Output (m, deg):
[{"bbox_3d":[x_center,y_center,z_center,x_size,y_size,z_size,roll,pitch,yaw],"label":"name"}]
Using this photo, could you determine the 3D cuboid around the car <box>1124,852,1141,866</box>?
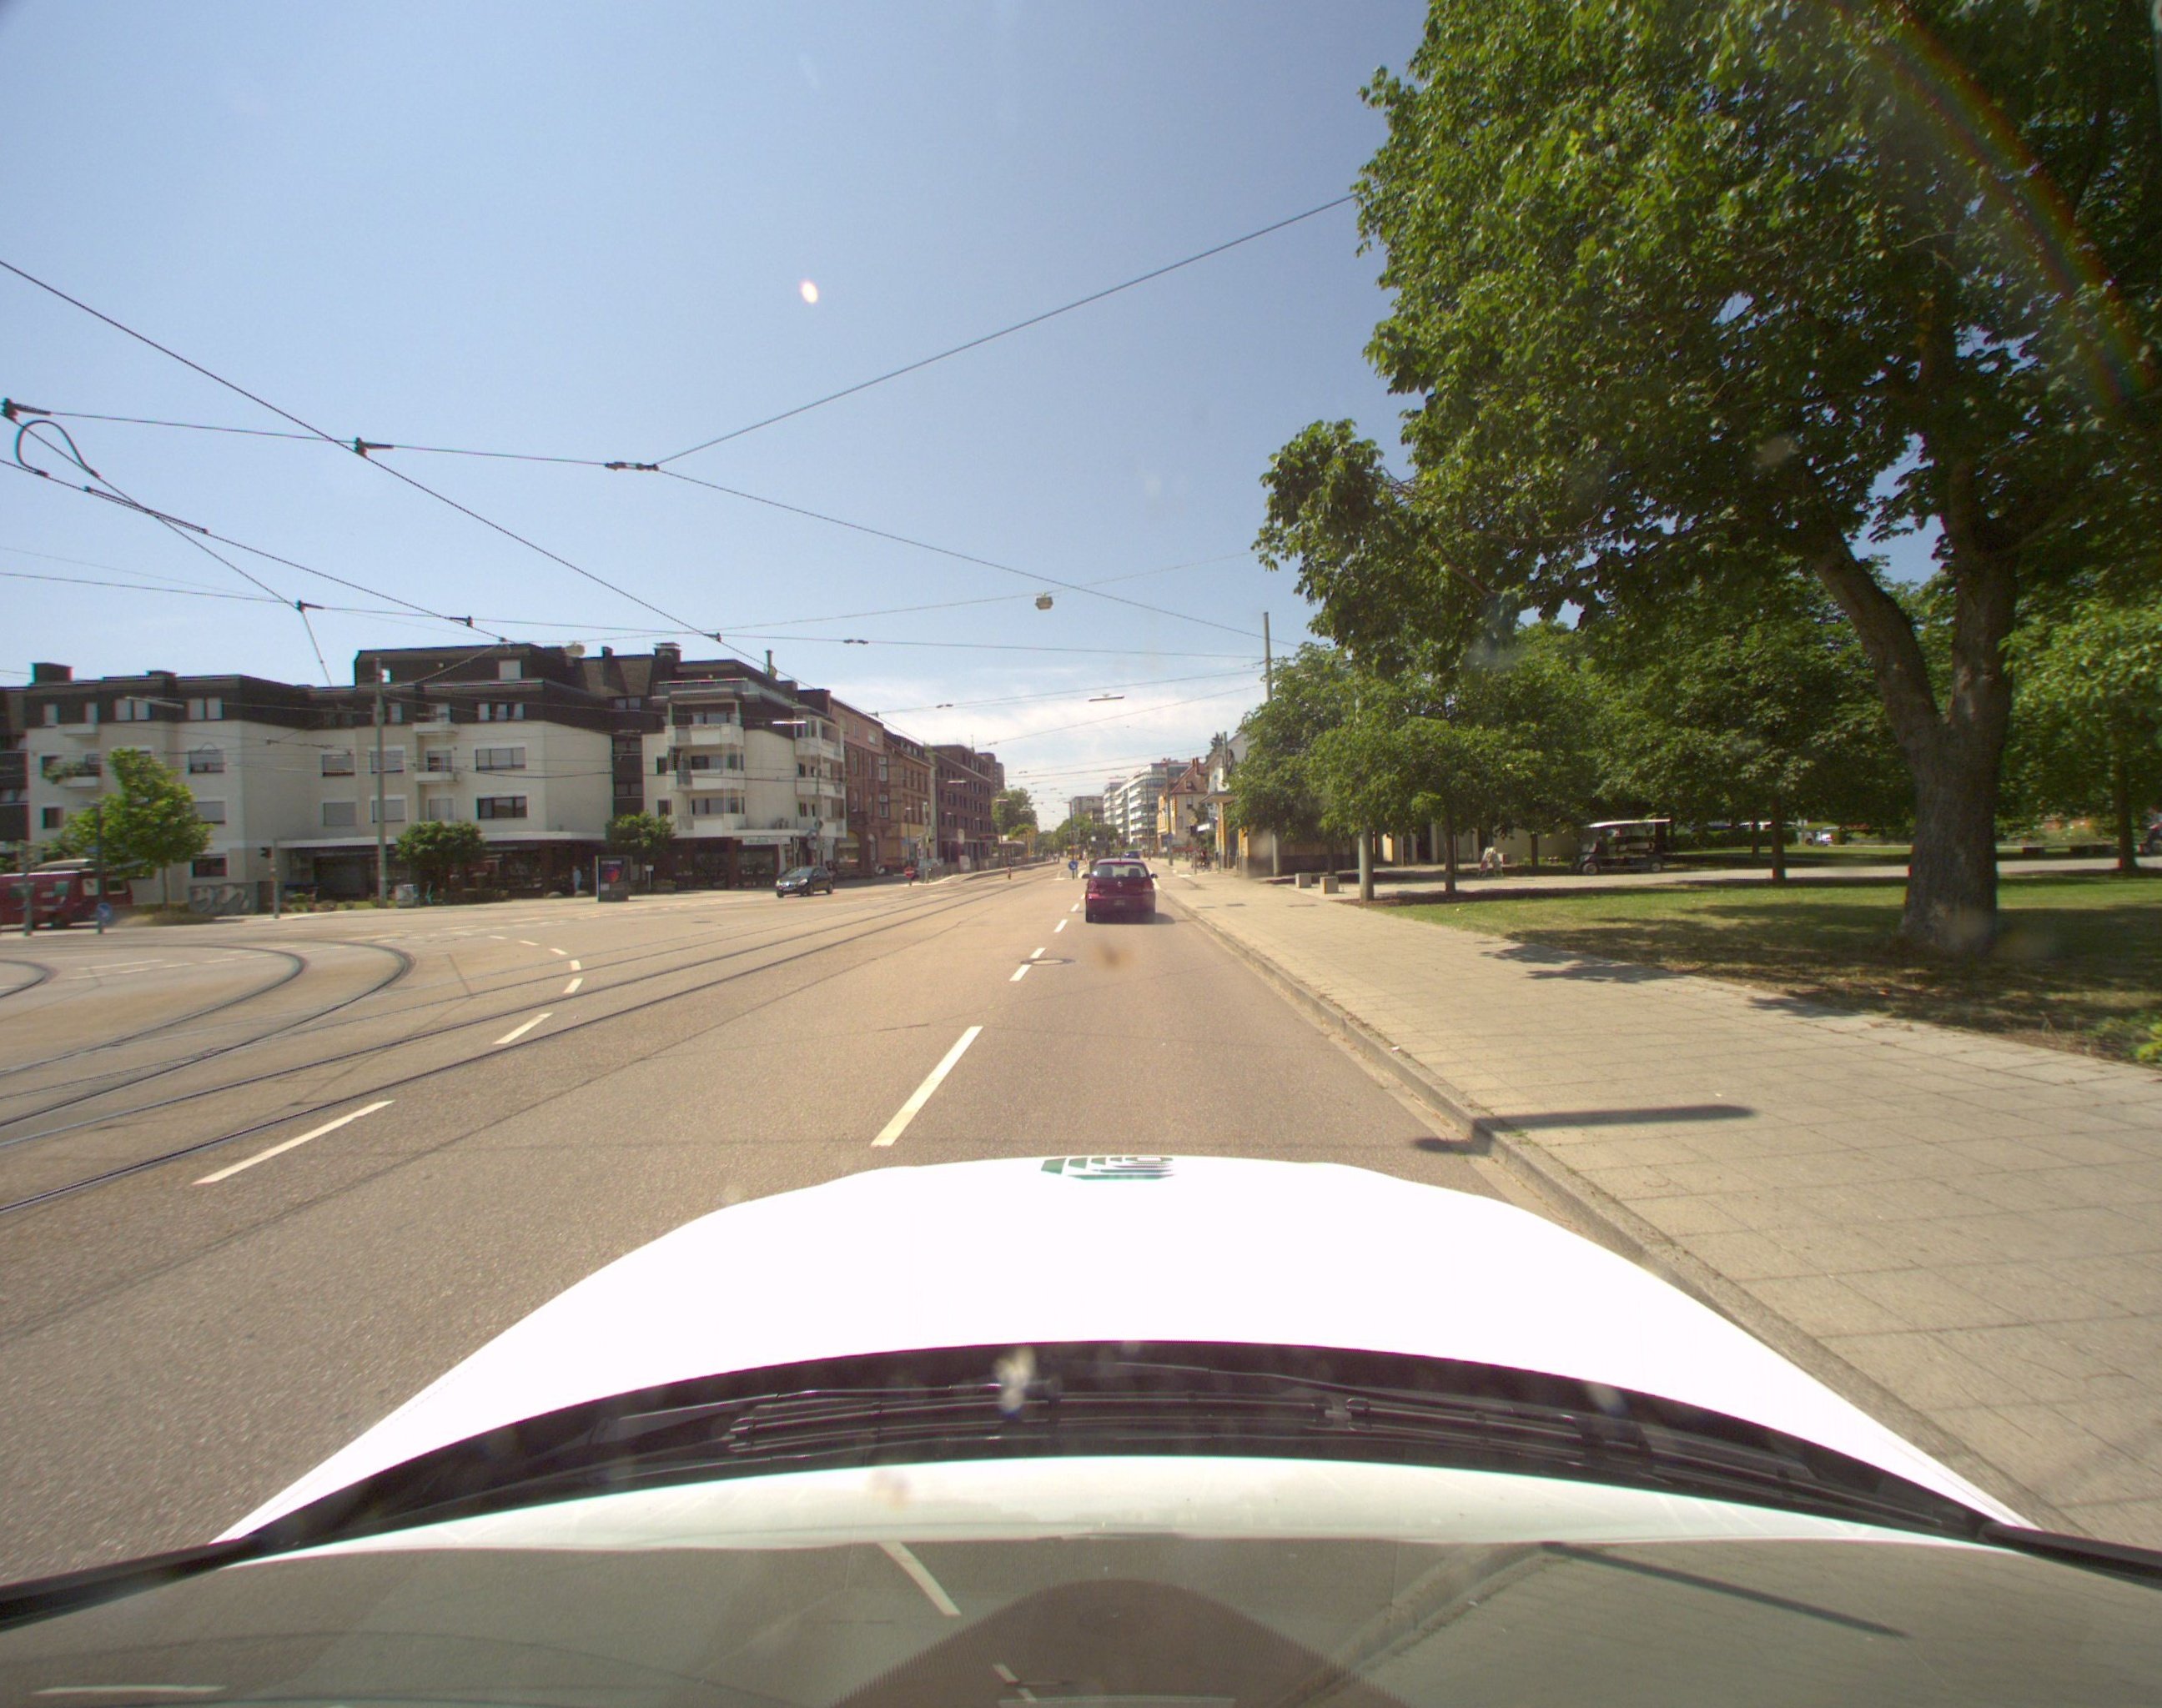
[{"bbox_3d":[6.289,0.594,100.117,1.986,1.624,4.634,-2,0,2],"label":"car"}]

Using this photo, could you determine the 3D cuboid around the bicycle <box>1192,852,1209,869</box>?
[{"bbox_3d":[8.869,0.485,60.554,0.372,1.197,1.917,-2,0,35],"label":"bicycle"}]

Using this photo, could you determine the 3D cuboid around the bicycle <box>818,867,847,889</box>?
[{"bbox_3d":[-15.956,1.502,52.389,0.671,1.304,2.114,-3,0,17],"label":"bicycle"}]

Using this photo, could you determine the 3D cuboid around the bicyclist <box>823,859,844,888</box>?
[{"bbox_3d":[-15.943,1.258,52.509,0.726,1.762,1.140,-3,0,17],"label":"bicyclist"}]

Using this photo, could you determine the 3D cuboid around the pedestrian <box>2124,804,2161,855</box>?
[{"bbox_3d":[37.991,-0.876,28.947,0.769,1.793,0.769,-2,0,1],"label":"pedestrian"}]

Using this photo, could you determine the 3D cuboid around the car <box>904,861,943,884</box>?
[{"bbox_3d":[-12.487,1.434,64.960,1.785,1.579,4.501,-3,0,5],"label":"car"}]

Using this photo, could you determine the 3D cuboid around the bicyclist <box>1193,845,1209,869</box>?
[{"bbox_3d":[8.960,0.210,60.702,0.720,1.760,0.930,-2,0,37],"label":"bicyclist"}]

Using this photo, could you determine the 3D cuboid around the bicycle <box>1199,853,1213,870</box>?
[{"bbox_3d":[8.375,0.506,54.569,0.665,1.002,1.866,-6,1,4],"label":"bicycle"}]

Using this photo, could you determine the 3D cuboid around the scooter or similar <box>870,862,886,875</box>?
[{"bbox_3d":[-18.157,1.280,72.904,0.484,1.082,1.585,-2,0,20],"label":"scooter or similar"}]

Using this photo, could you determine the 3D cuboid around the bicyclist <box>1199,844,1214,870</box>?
[{"bbox_3d":[8.407,0.182,54.620,0.829,1.618,0.861,-6,1,4],"label":"bicyclist"}]

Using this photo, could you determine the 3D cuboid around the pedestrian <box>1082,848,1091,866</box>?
[{"bbox_3d":[0.532,0.276,78.696,0.759,1.674,1.102,-2,0,4],"label":"pedestrian"}]

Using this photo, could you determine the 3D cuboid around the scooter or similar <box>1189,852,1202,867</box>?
[{"bbox_3d":[8.959,0.423,63.814,0.340,1.178,1.457,-2,0,-20],"label":"scooter or similar"}]

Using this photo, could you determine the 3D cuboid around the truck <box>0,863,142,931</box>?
[{"bbox_3d":[-44.542,1.859,35.367,5.005,2.698,2.189,-3,0,3],"label":"truck"}]

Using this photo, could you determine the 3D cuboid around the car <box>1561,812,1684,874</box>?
[{"bbox_3d":[19.400,-0.381,29.283,3.317,2.014,1.465,-3,-1,3],"label":"car"}]

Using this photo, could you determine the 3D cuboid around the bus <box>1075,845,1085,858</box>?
[{"bbox_3d":[-0.178,-0.559,184.163,2.137,3.003,6.573,-2,0,1],"label":"bus"}]

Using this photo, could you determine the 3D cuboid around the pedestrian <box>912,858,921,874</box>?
[{"bbox_3d":[-16.069,1.181,79.624,0.612,1.560,0.641,-3,0,2],"label":"pedestrian"}]

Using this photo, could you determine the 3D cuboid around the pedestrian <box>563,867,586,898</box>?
[{"bbox_3d":[-28.908,1.623,46.472,0.695,1.696,0.810,-2,0,11],"label":"pedestrian"}]

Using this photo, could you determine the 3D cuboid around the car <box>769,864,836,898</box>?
[{"bbox_3d":[-13.845,1.313,40.713,1.702,1.438,3.870,-2,0,4],"label":"car"}]

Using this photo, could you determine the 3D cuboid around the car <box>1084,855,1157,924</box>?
[{"bbox_3d":[0.952,0.788,19.580,1.555,1.453,3.064,-2,0,2],"label":"car"}]
